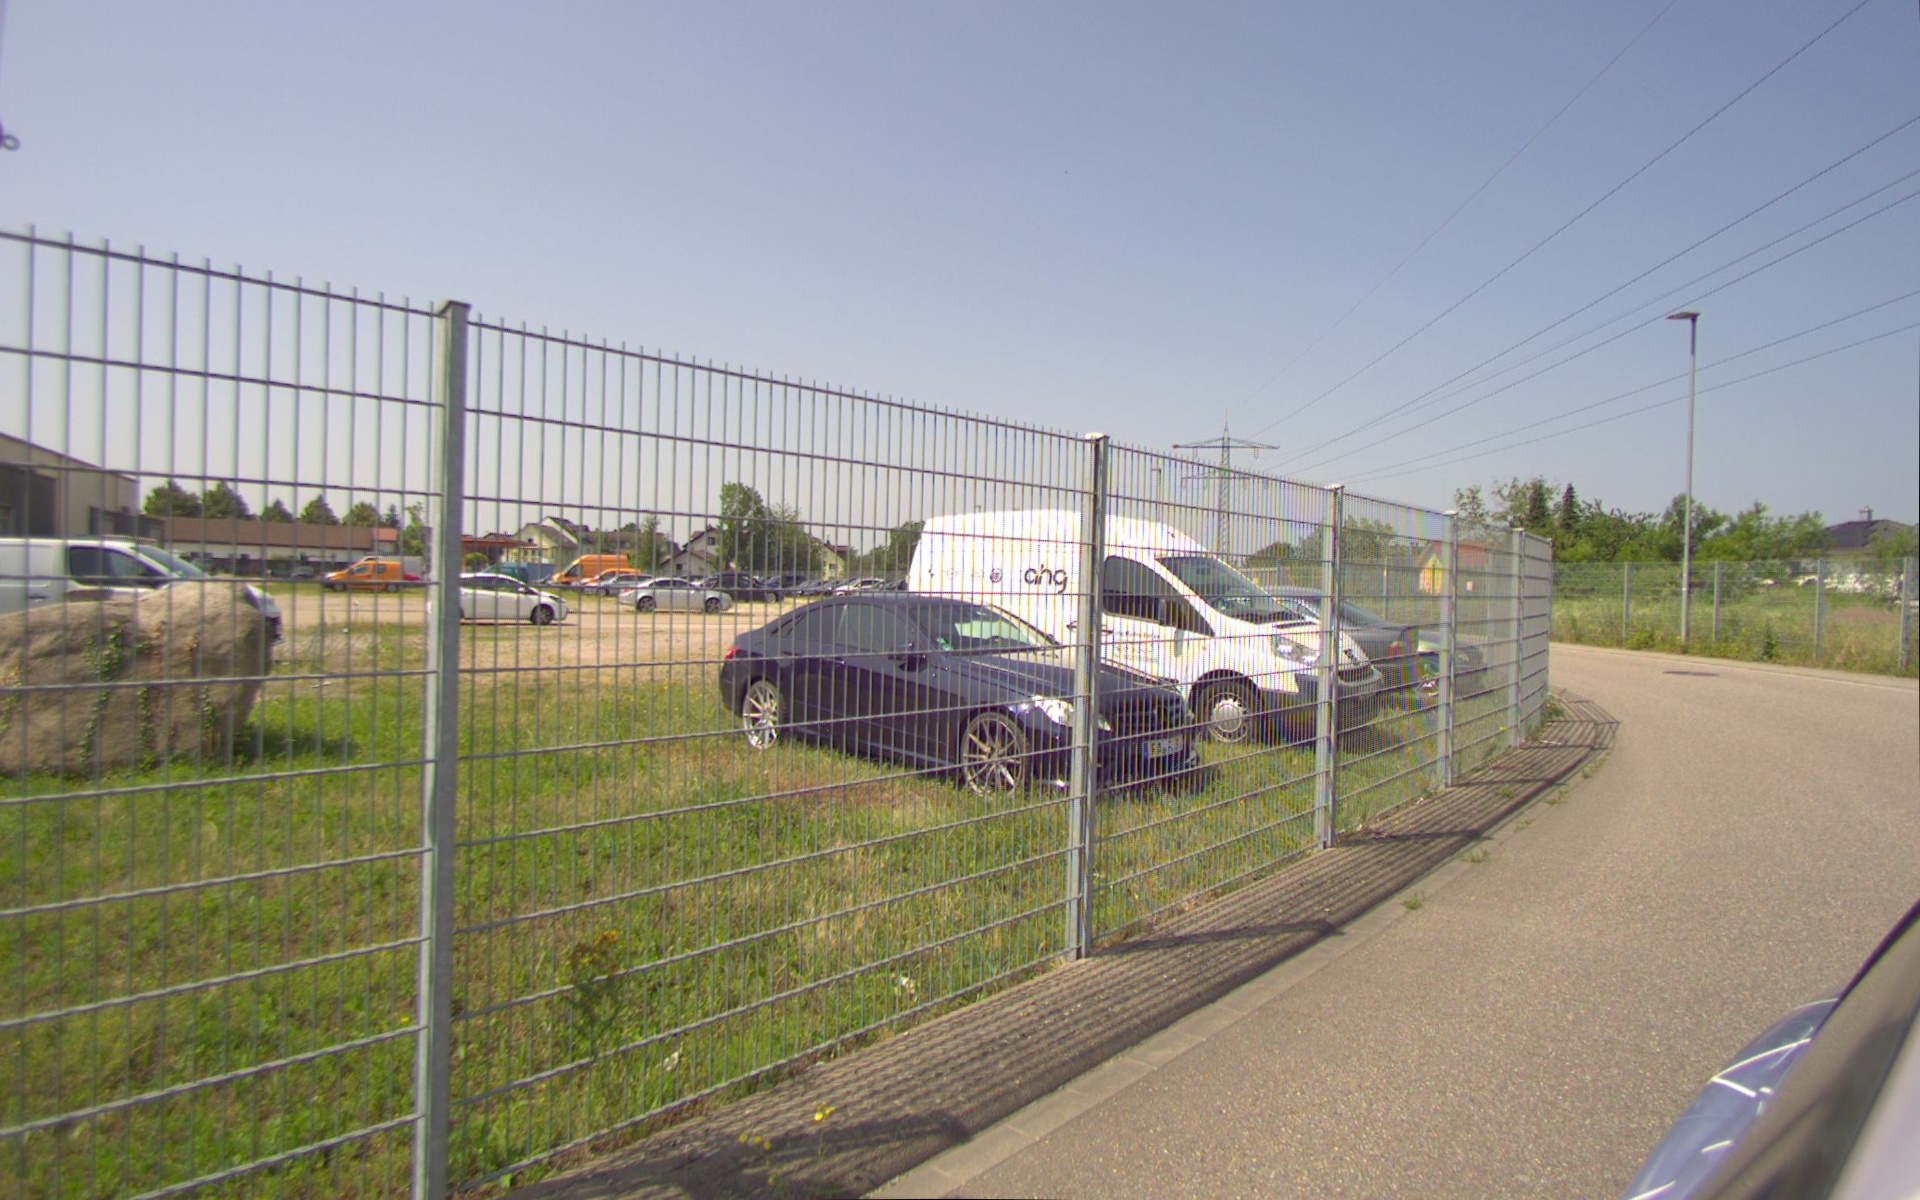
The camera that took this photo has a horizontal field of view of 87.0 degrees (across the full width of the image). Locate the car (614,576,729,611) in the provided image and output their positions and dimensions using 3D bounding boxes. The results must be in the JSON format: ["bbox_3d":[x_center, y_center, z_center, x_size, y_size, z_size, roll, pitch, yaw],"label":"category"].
[{"bbox_3d":[-12.016,-0.278,42.194,4.429,1.368,1.630,1,1,-24],"label":"car"}]

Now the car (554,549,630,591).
[{"bbox_3d":[-25.263,-2.031,69.536,4.648,2.617,1.984,2,0,-26],"label":"car"}]

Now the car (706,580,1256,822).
[{"bbox_3d":[-0.058,0.578,8.325,4.421,1.377,1.877,3,2,44],"label":"car"}]

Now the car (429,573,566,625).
[{"bbox_3d":[-13.740,-0.032,30.103,3.592,1.453,1.538,1,1,-28],"label":"car"}]

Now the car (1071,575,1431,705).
[{"bbox_3d":[3.672,0.411,13.059,4.178,1.374,1.597,2,1,33],"label":"car"}]

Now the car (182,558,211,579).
[{"bbox_3d":[-74.109,-3.067,98.291,1.896,1.904,4.071,1,1,-32],"label":"car"}]

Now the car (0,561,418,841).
[{"bbox_3d":[-5.396,0.415,6.701,3.911,1.293,1.879,2,2,40],"label":"car"}]

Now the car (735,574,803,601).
[{"bbox_3d":[-11.554,-0.747,61.207,3.695,1.455,1.614,2,0,-26],"label":"car"}]

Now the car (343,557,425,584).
[{"bbox_3d":[-35.470,-1.794,62.471,4.300,1.504,1.976,2,0,-28],"label":"car"}]

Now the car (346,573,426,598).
[{"bbox_3d":[-36.755,-0.917,64.935,4.299,1.395,1.845,2,0,-26],"label":"car"}]

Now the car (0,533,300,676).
[{"bbox_3d":[-12.740,0.038,14.745,4.971,1.923,1.861,1,1,-24],"label":"car"}]

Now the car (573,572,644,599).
[{"bbox_3d":[-20.613,-0.834,59.290,3.750,1.480,1.591,2,0,-26],"label":"car"}]

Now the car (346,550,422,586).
[{"bbox_3d":[-38.317,-2.110,67.437,4.300,2.199,1.976,2,0,-28],"label":"car"}]

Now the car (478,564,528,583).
[{"bbox_3d":[-40.233,-2.288,89.178,3.887,1.504,1.755,2,0,-28],"label":"car"}]

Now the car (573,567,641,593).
[{"bbox_3d":[-21.554,-1.218,61.851,3.750,1.480,1.591,2,0,-26],"label":"car"}]

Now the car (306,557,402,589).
[{"bbox_3d":[-32.643,-1.438,54.654,4.300,1.504,1.755,2,0,-28],"label":"car"}]

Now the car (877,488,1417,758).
[{"bbox_3d":[1.693,0.100,10.607,5.319,2.176,1.879,2,1,40],"label":"car"}]

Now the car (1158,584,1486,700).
[{"bbox_3d":[5.239,0.531,14.880,4.313,1.412,1.603,2,1,26],"label":"car"}]
